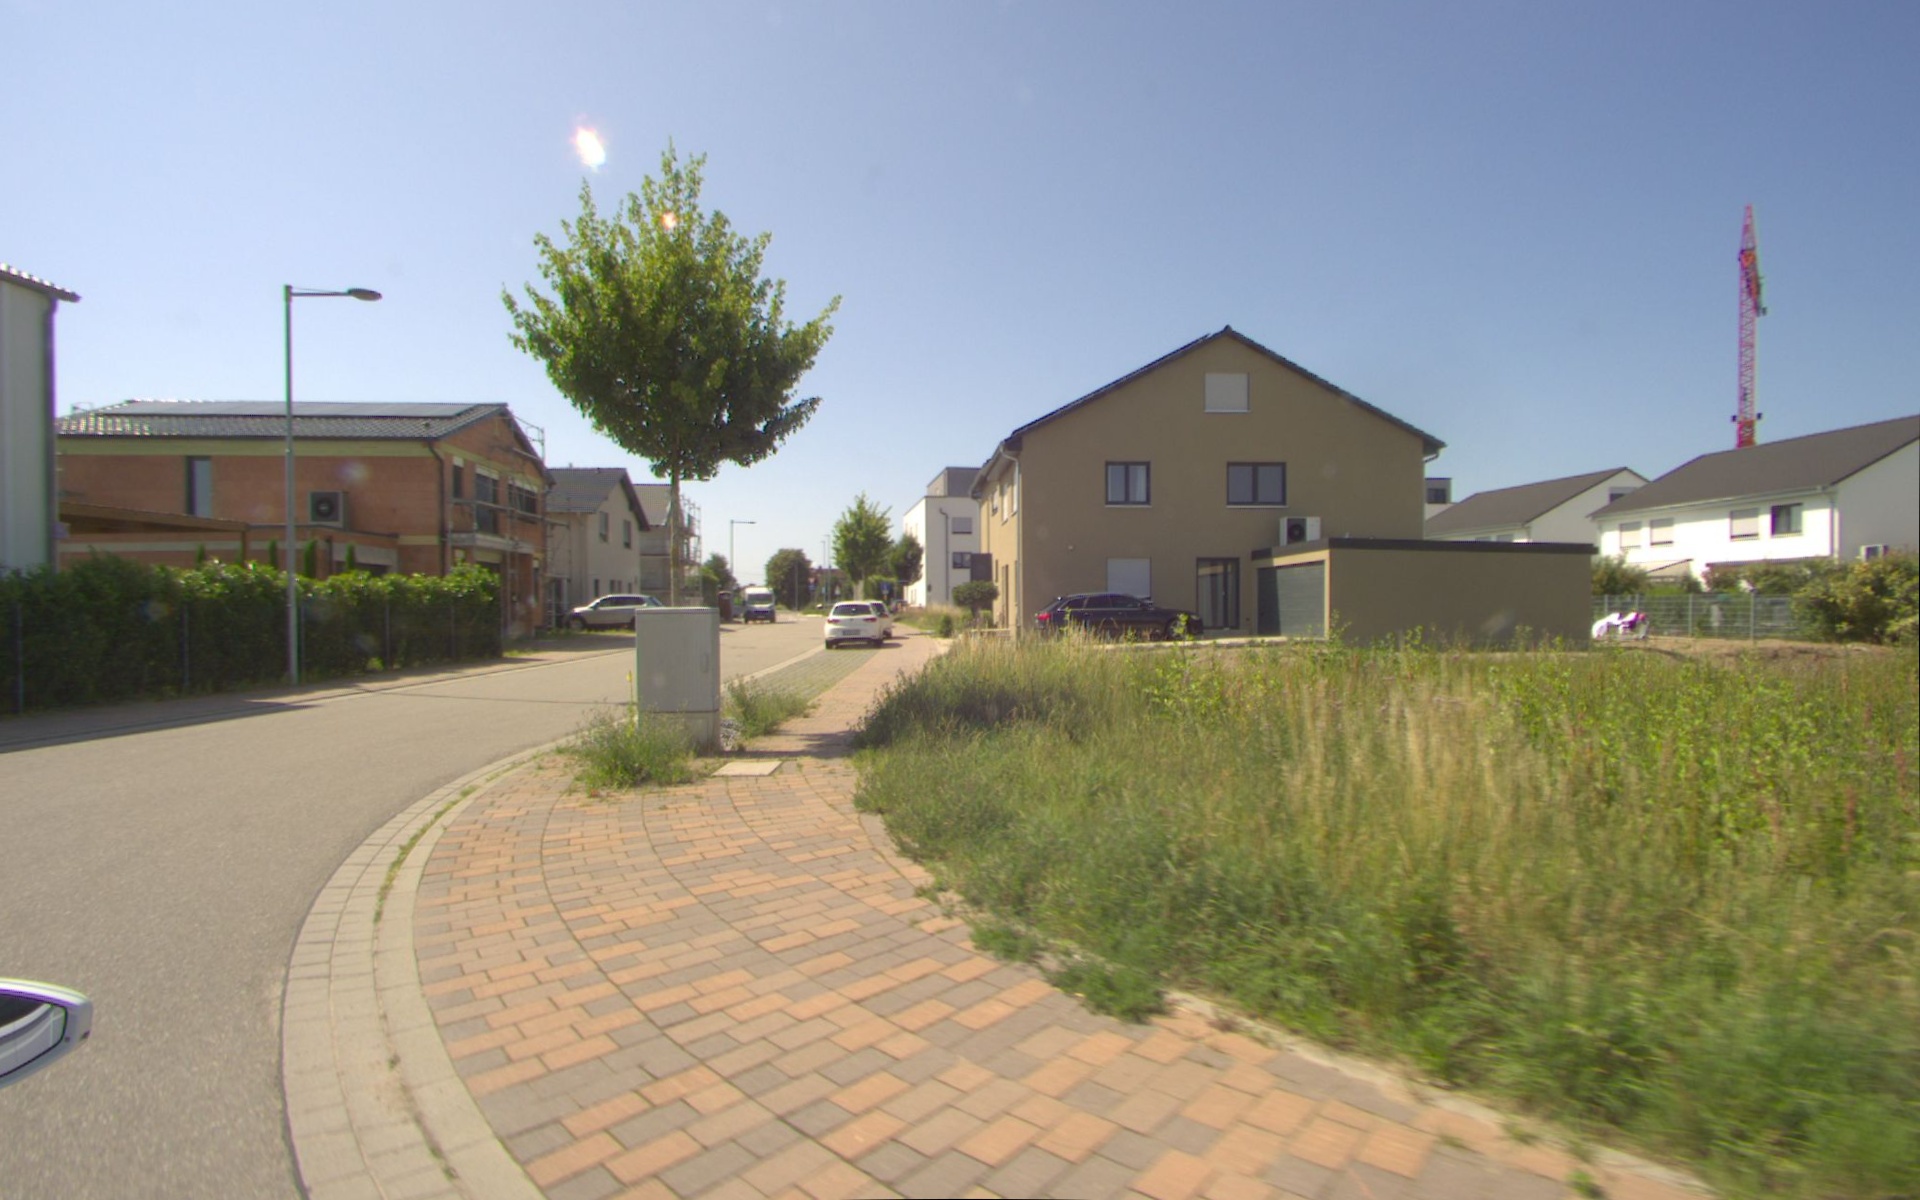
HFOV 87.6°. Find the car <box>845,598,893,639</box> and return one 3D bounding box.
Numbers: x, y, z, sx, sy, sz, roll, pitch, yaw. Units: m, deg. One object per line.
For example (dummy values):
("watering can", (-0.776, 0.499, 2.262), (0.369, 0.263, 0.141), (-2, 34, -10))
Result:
("car", (-3.516, 0.664, 39.086), (1.751, 1.445, 4.512), (-2, 1, -4))

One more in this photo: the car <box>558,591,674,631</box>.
("car", (-14.753, 0.456, 43.150), (4.354, 1.633, 1.999), (-1, 0, -7))

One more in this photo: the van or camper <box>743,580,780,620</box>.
("van or camper", (-13.760, 0.049, 69.208), (2.238, 2.586, 6.360), (0, -1, -13))

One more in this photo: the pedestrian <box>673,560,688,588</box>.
("pedestrian", (-17.940, -1.649, 64.210), (0.572, 1.701, 0.742), (-2, -2, 40))

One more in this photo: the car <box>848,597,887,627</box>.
("car", (-5.127, 0.610, 54.993), (1.888, 1.531, 5.291), (-2, 1, -7))

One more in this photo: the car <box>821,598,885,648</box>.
("car", (-3.411, 0.709, 32.684), (1.785, 1.475, 4.563), (-2, 0, -3))

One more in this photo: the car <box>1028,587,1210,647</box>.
("car", (4.468, 0.464, 28.667), (4.808, 1.445, 2.000), (-2, 1, -1))
